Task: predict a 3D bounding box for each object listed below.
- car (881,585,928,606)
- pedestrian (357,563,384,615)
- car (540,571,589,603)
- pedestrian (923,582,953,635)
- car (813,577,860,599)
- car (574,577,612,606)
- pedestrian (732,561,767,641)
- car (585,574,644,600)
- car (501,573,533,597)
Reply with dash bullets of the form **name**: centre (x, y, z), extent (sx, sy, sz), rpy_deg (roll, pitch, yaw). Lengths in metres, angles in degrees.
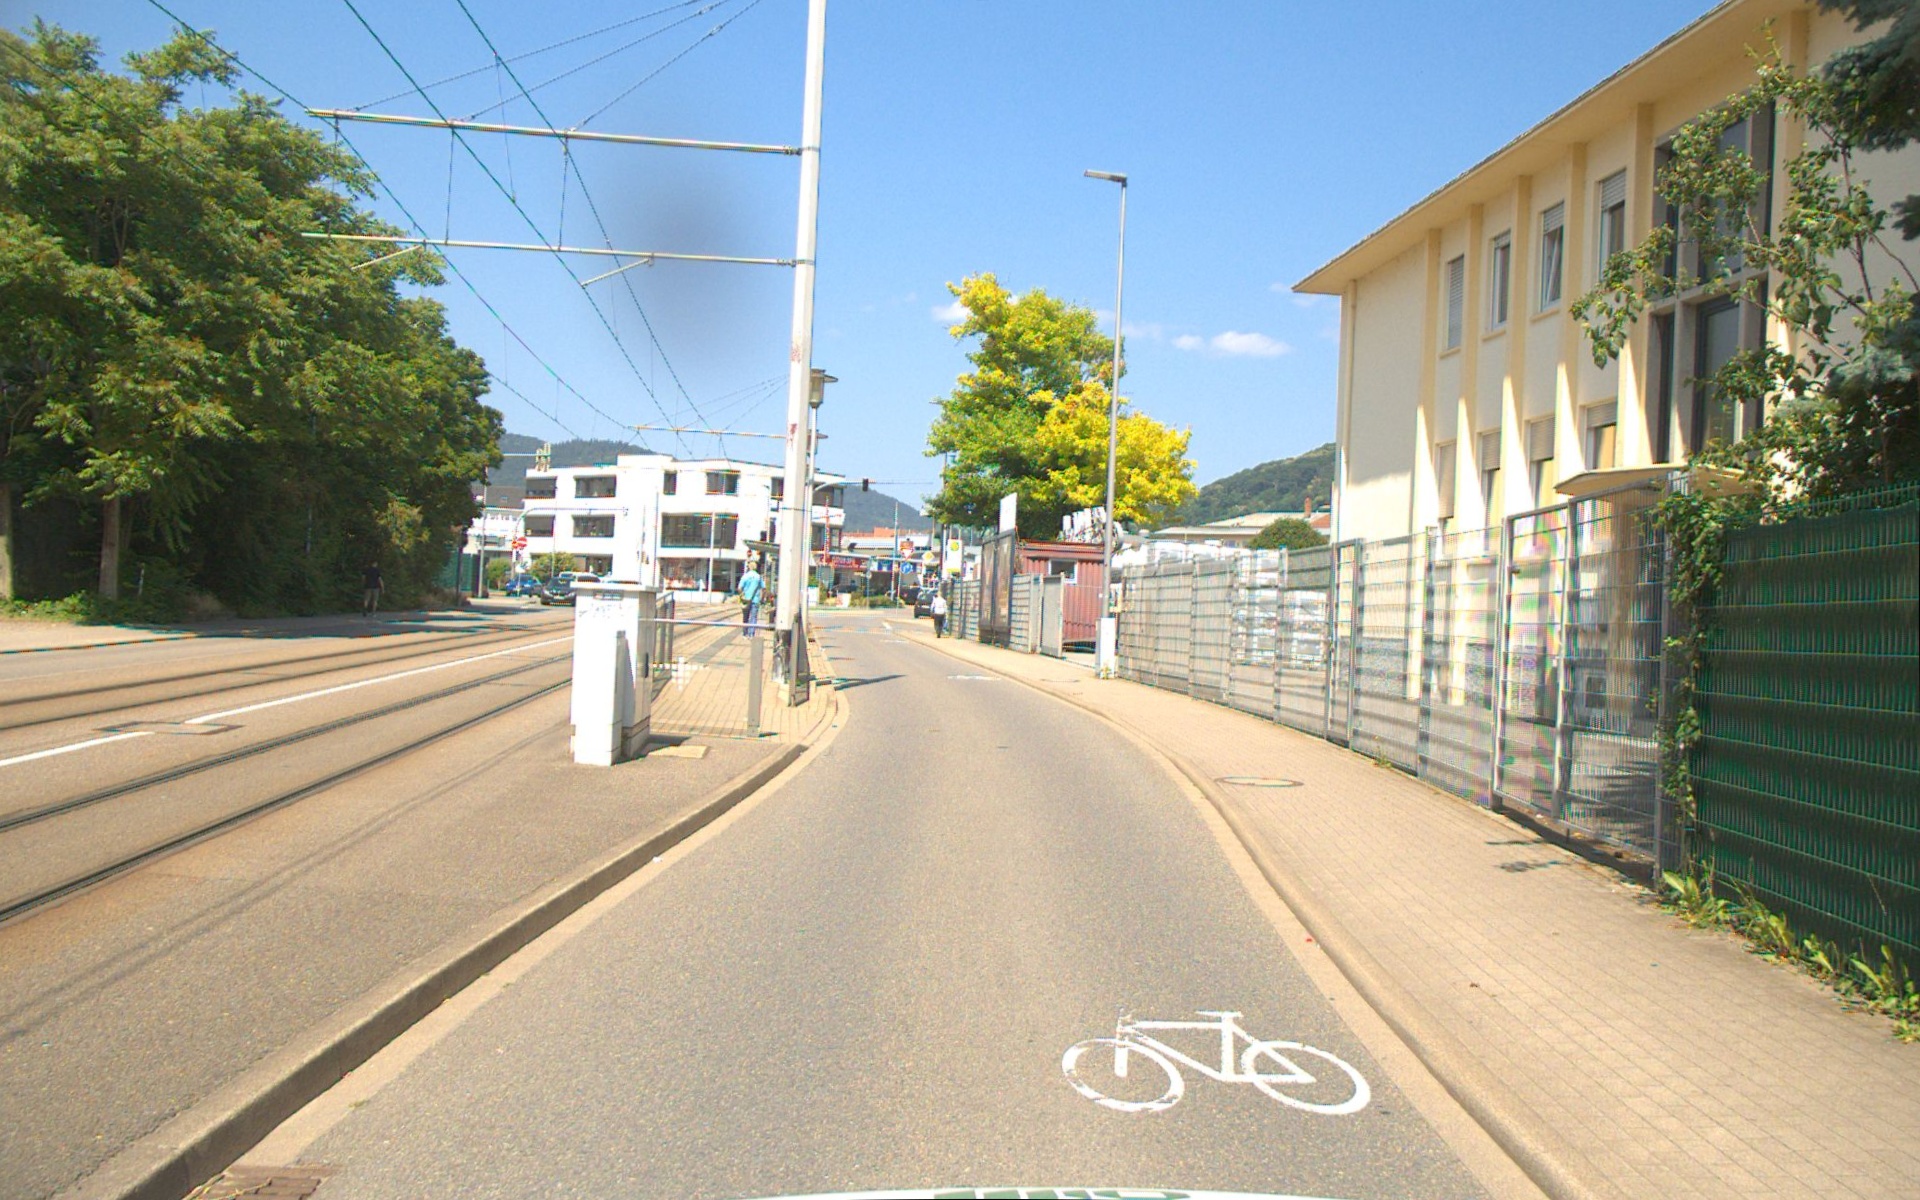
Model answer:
- **car**: centre (-4.750, -0.352, 142.093), extent (1.830, 1.691, 3.980), rpy_deg (2, 0, 39)
- **pedestrian**: centre (-18.095, -0.327, 50.768), extent (0.572, 1.564, 0.656), rpy_deg (2, 0, -6)
- **car**: centre (-20.376, -0.679, 85.293), extent (1.751, 1.579, 3.997), rpy_deg (2, 0, -3)
- **pedestrian**: centre (-0.797, 0.308, 59.891), extent (0.922, 1.818, 0.952), rpy_deg (3, 1, -7)
- **car**: centre (-10.681, -1.036, 143.599), extent (1.704, 1.691, 3.977), rpy_deg (2, 0, 41)
- **car**: centre (-22.050, -0.522, 99.338), extent (1.730, 1.676, 3.740), rpy_deg (2, 0, -20)
- **pedestrian**: centre (-4.759, 0.022, 37.430), extent (0.729, 1.771, 0.726), rpy_deg (2, 0, -6)
- **car**: centre (-24.040, -0.904, 115.082), extent (3.832, 1.709, 1.723), rpy_deg (2, 0, -18)
- **car**: centre (-29.545, -1.028, 110.183), extent (1.730, 1.515, 3.740), rpy_deg (2, 0, -20)
